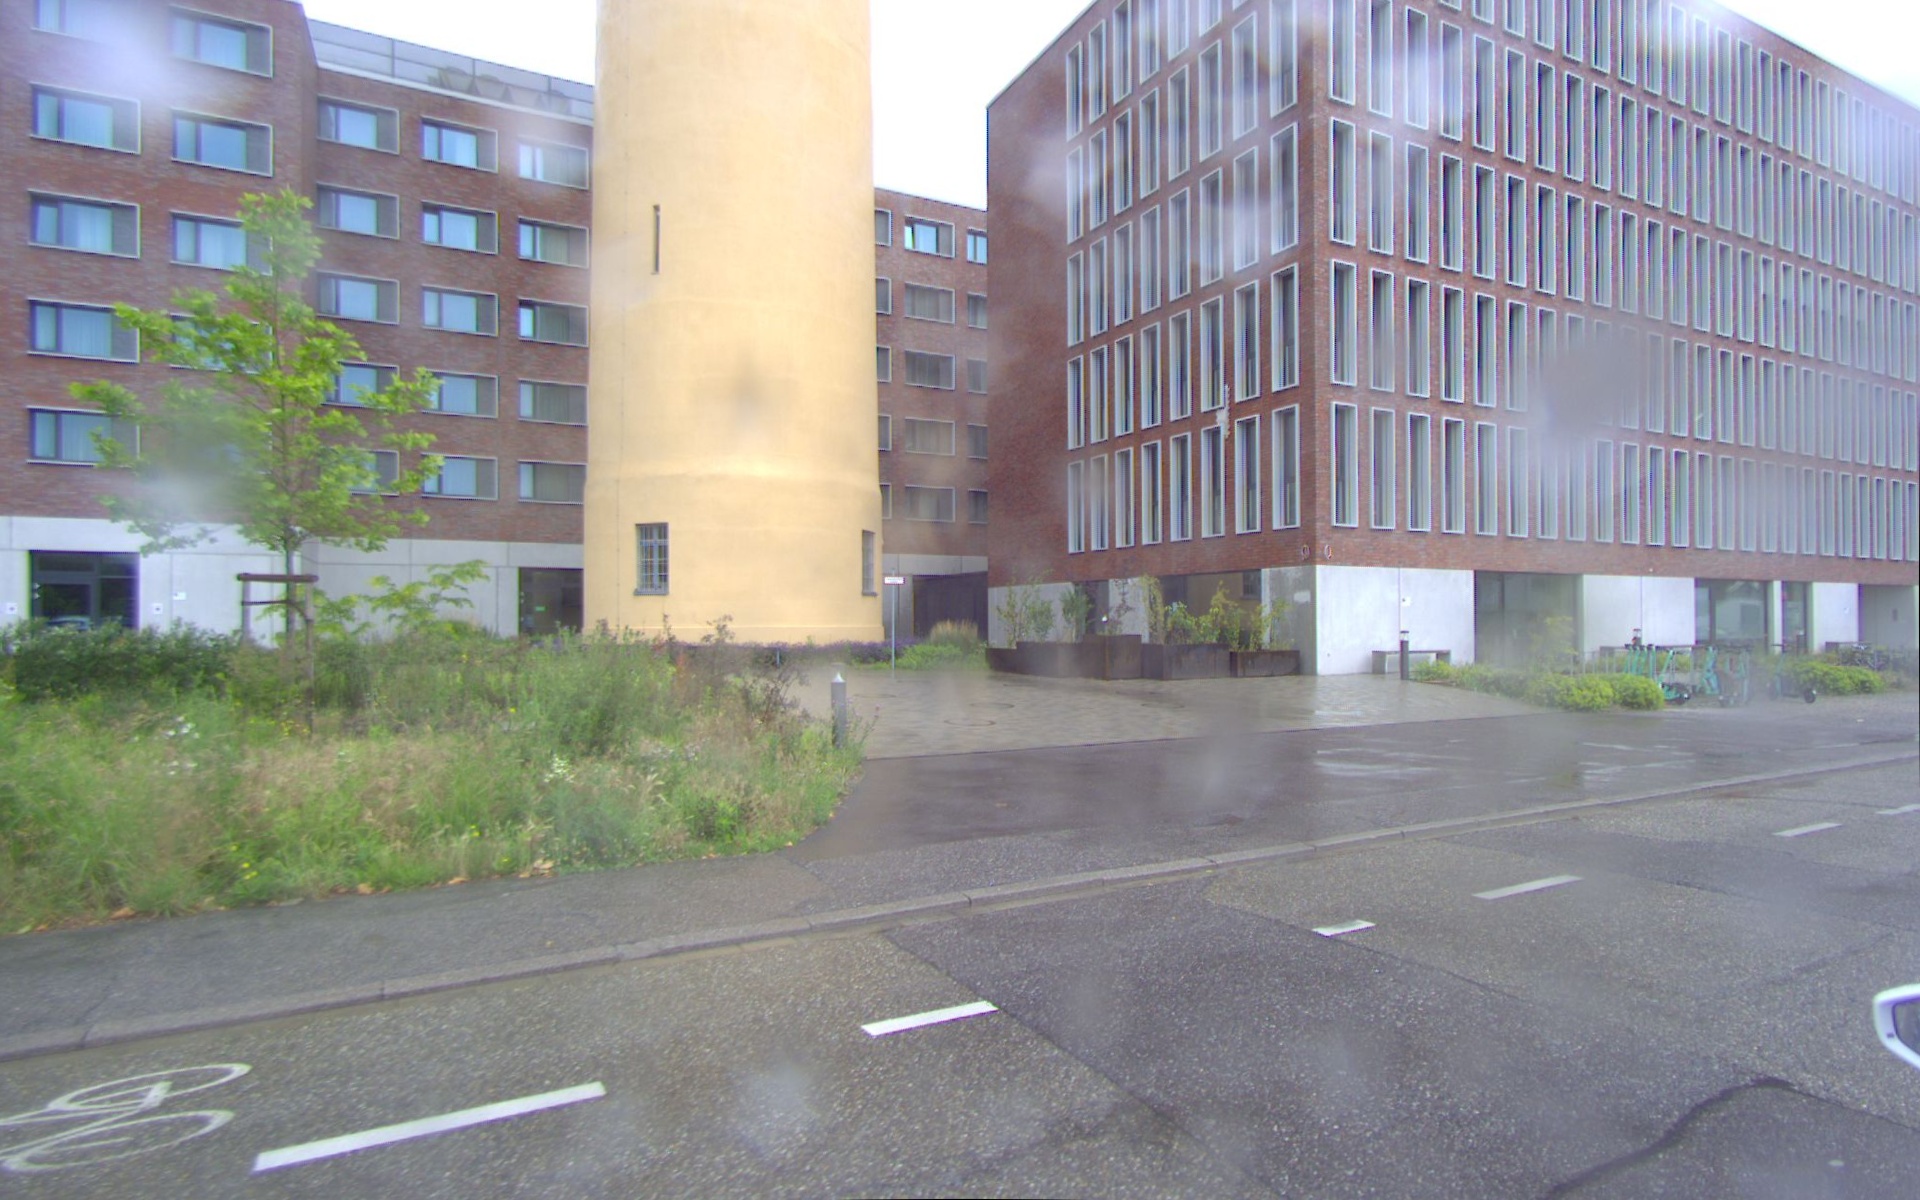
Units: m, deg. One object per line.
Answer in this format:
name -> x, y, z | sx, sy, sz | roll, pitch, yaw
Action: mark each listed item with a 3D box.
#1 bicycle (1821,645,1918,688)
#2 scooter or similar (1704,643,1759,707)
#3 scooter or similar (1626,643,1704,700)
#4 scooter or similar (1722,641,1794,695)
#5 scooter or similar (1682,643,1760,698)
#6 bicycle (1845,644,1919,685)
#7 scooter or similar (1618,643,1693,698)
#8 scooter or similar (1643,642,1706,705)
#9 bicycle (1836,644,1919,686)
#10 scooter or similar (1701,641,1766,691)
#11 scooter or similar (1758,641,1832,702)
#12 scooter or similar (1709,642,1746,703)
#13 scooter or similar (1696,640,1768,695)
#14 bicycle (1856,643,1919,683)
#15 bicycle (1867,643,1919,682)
bicycle -> 25.571, 1.844, 28.281 | 0.613, 1.091, 1.939 | 1, 0, -30
scooter or similar -> 15.728, 1.505, 20.471 | 1.306, 1.246, 0.463 | 1, -2, -33
scooter or similar -> 15.305, 1.539, 21.837 | 0.461, 1.193, 1.313 | 0, -2, -23
scooter or similar -> 18.498, 1.568, 23.291 | 1.183, 1.224, 0.468 | -1, -2, 13
scooter or similar -> 17.041, 1.569, 22.518 | 0.464, 1.193, 1.305 | 1, -2, -41
bicycle -> 26.923, 1.861, 29.093 | 0.538, 1.091, 1.850 | 1, 0, -30
scooter or similar -> 15.566, 1.563, 22.505 | 0.461, 1.193, 1.313 | 0, -2, -23
scooter or similar -> 14.769, 1.496, 20.793 | 0.498, 1.246, 1.322 | -1, -2, 9
bicycle -> 26.363, 1.846, 28.766 | 0.538, 1.091, 1.850 | 1, 0, -30
scooter or similar -> 19.506, 1.649, 25.353 | 0.411, 1.224, 1.224 | 0, -2, -22
scooter or similar -> 17.906, 1.516, 21.576 | 0.458, 1.246, 1.321 | -1, -2, 0
scooter or similar -> 16.503, 1.537, 21.607 | 0.459, 1.246, 1.318 | -2, -2, 31
scooter or similar -> 17.718, 1.545, 23.077 | 1.183, 1.246, 0.468 | -1, -2, 13
bicycle -> 27.670, 1.855, 29.568 | 0.538, 1.091, 1.850 | 1, 0, -30
bicycle -> 28.373, 1.873, 29.976 | 0.538, 1.091, 1.850 | 1, 0, -30
